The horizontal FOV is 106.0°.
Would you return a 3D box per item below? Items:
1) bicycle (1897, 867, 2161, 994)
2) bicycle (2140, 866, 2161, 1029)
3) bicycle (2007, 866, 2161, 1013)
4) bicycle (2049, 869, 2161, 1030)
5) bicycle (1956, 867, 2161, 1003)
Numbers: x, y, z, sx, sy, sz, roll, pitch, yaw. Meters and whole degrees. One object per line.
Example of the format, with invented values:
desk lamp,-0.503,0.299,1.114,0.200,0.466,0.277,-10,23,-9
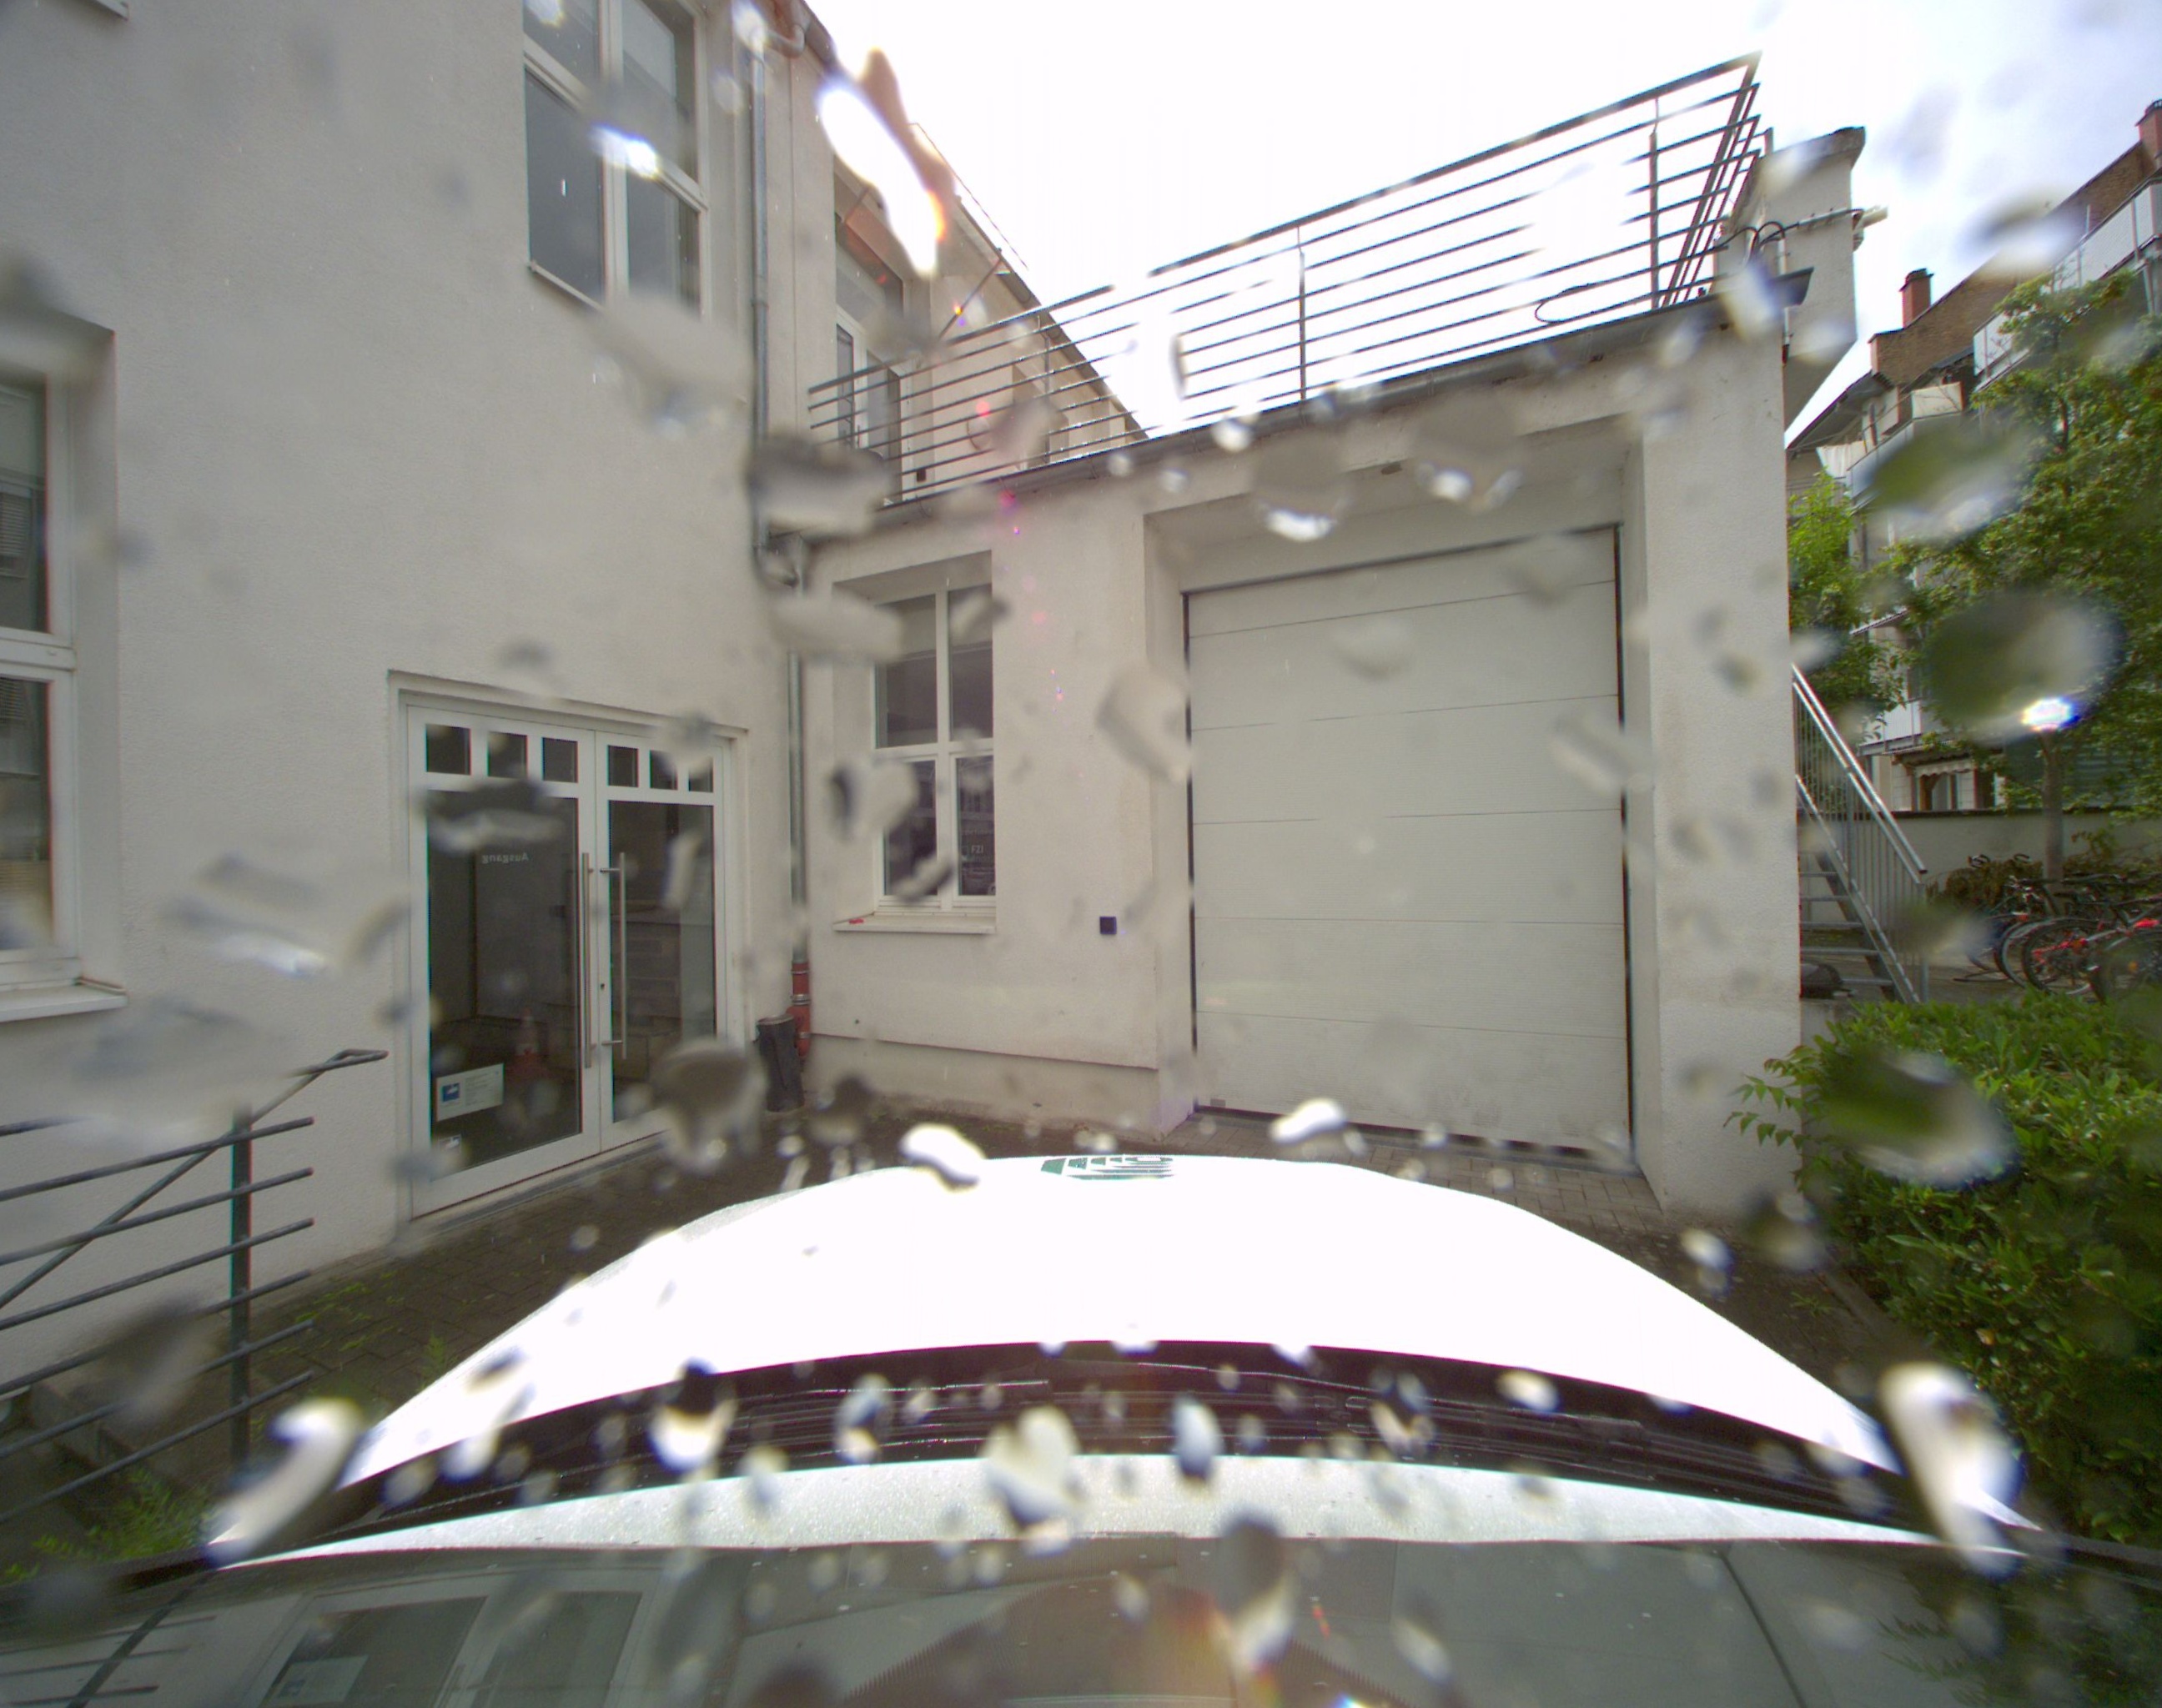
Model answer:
bicycle,9.503,0.673,7.457,2.818,1.078,0.693,0,1,22
bicycle,8.458,0.623,4.703,2.898,1.078,0.693,0,1,22
bicycle,9.065,0.645,6.089,2.818,1.078,0.693,0,1,22
bicycle,8.677,0.658,5.462,2.818,1.078,0.693,0,1,22
bicycle,9.345,0.660,6.752,2.818,1.078,0.693,0,1,22
